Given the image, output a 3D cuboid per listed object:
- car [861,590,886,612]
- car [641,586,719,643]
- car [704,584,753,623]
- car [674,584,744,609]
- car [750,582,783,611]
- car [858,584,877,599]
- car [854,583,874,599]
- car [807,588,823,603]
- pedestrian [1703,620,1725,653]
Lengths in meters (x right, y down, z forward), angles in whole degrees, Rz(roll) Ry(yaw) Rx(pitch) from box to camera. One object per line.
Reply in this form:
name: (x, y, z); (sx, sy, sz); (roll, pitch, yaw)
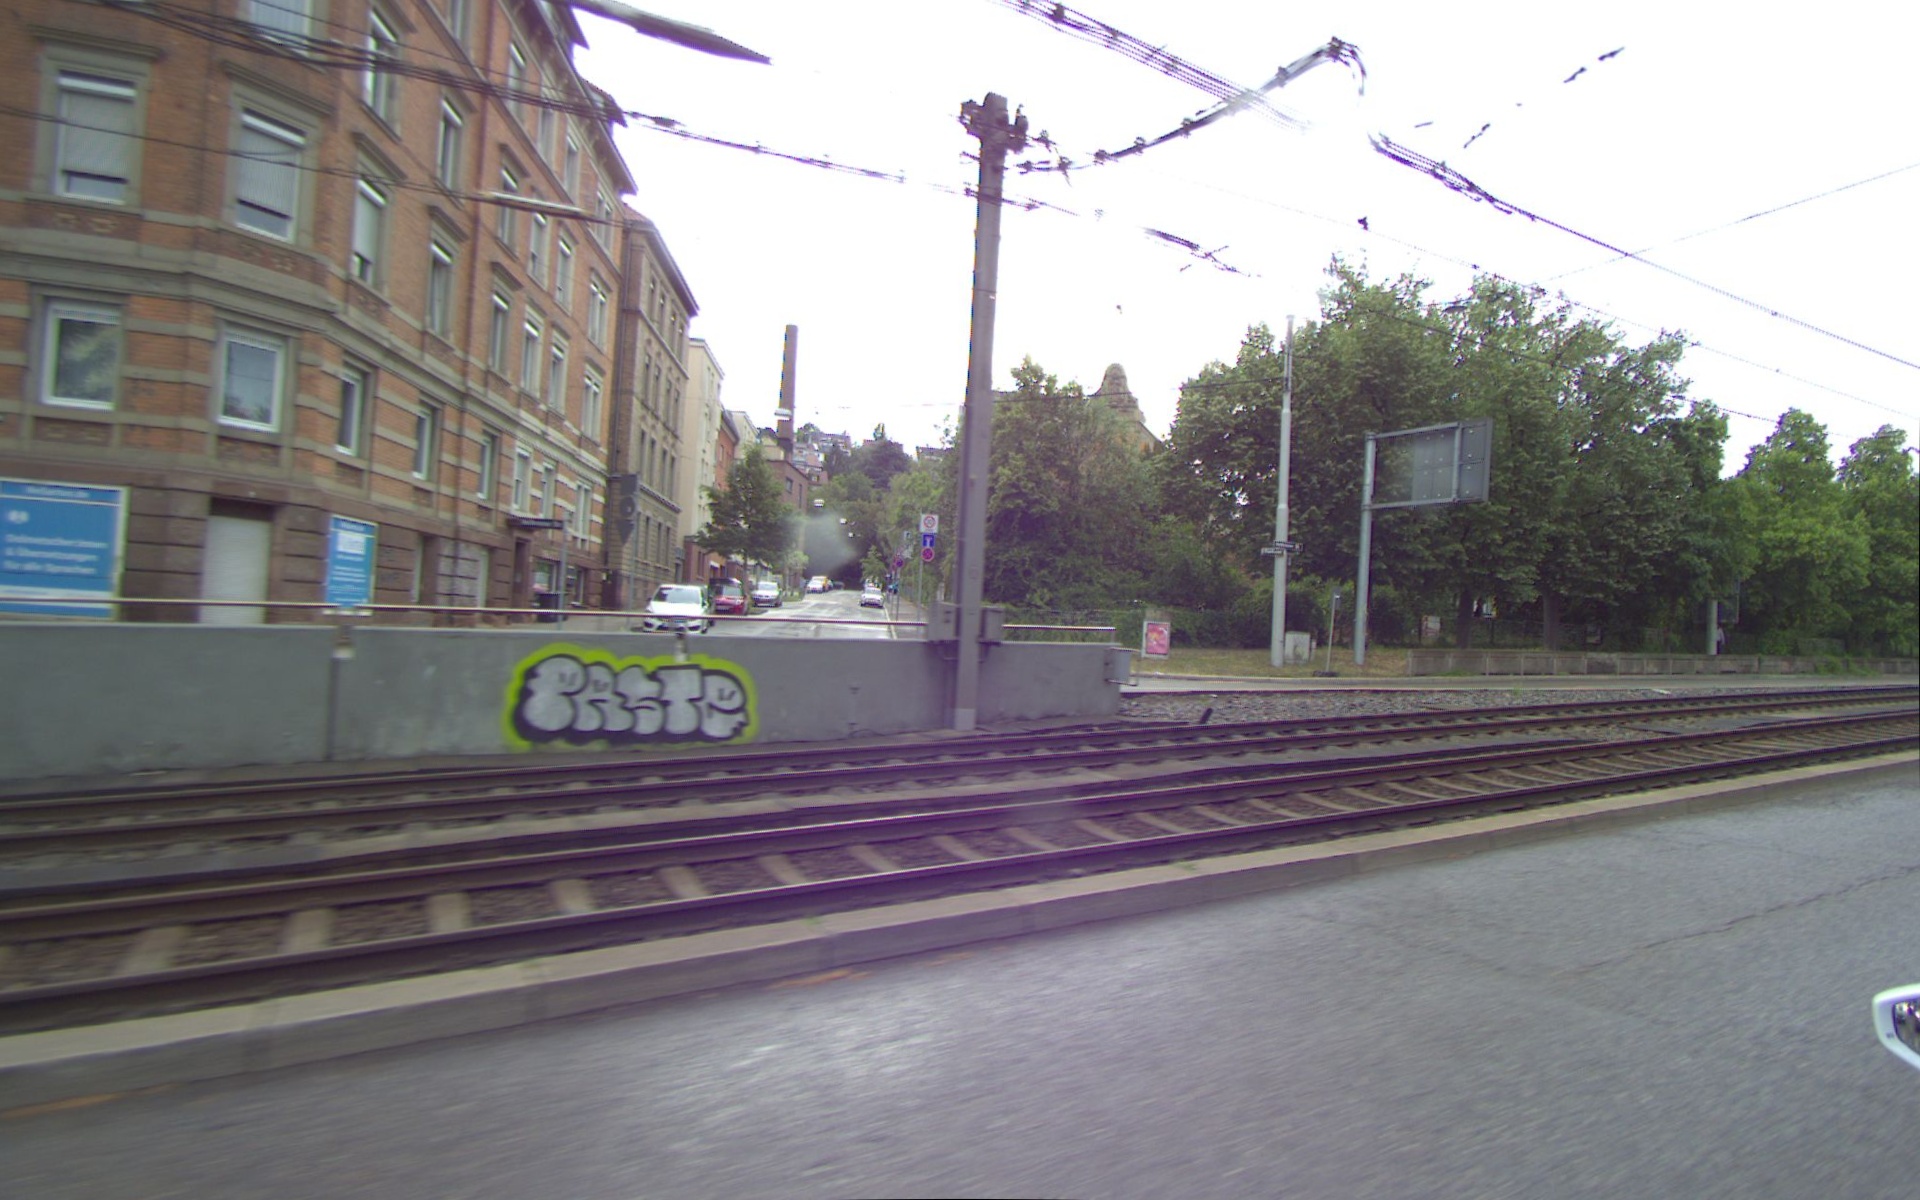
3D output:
car: (-6.519, 0.047, 75.911); (1.654, 1.522, 3.812); (5, 0, -4)
car: (-8.812, 0.397, 31.885); (1.872, 1.522, 4.350); (5, 0, -10)
car: (-10.294, 0.115, 44.838); (1.717, 1.522, 3.808); (5, 0, -8)
car: (-17.257, -0.254, 69.312); (4.416, 1.530, 1.798); (3, 0, -6)
car: (-11.699, -0.250, 60.895); (1.655, 1.522, 3.808); (5, 0, -8)
car: (-10.133, -0.952, 110.272); (1.765, 1.530, 3.998); (3, 0, -3)
car: (-9.796, -0.890, 102.589); (1.765, 1.530, 3.998); (3, 0, -3)
car: (-16.630, -0.503, 115.219); (1.655, 1.522, 3.808); (5, 0, -8)
pedestrian: (38.773, 1.887, 51.647); (0.642, 1.683, 0.645); (1, -2, -29)
